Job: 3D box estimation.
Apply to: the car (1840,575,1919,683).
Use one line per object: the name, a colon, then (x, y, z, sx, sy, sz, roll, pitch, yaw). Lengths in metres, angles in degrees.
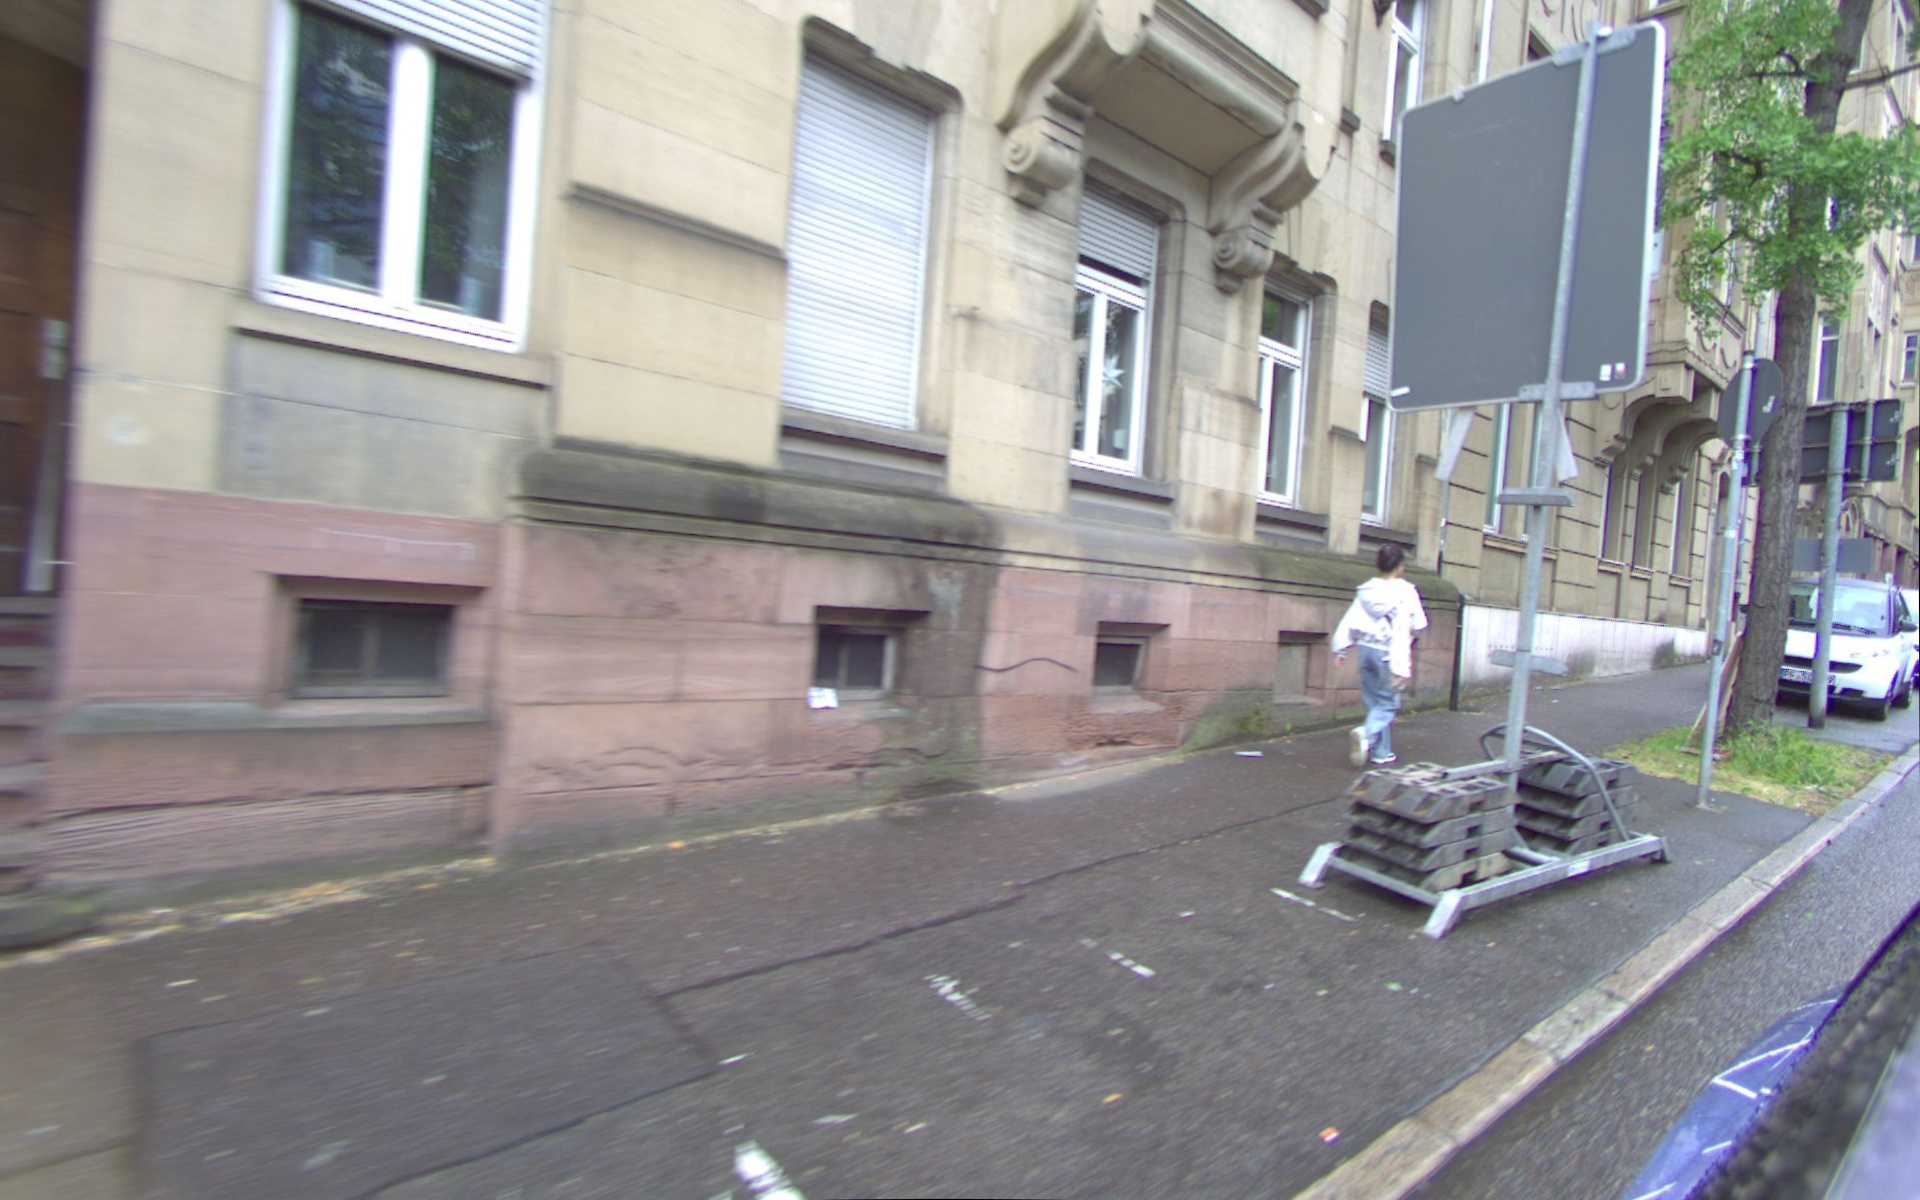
car: (15.530, 0.457, 16.199, 3.697, 1.504, 1.547, 0, 6, -41)

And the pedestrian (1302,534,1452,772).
pedestrian: (2.888, 0.319, 7.026, 0.679, 1.513, 0.645, -4, 8, -40)

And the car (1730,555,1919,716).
car: (11.162, 0.366, 12.737, 3.432, 1.636, 1.526, 0, 6, -41)
